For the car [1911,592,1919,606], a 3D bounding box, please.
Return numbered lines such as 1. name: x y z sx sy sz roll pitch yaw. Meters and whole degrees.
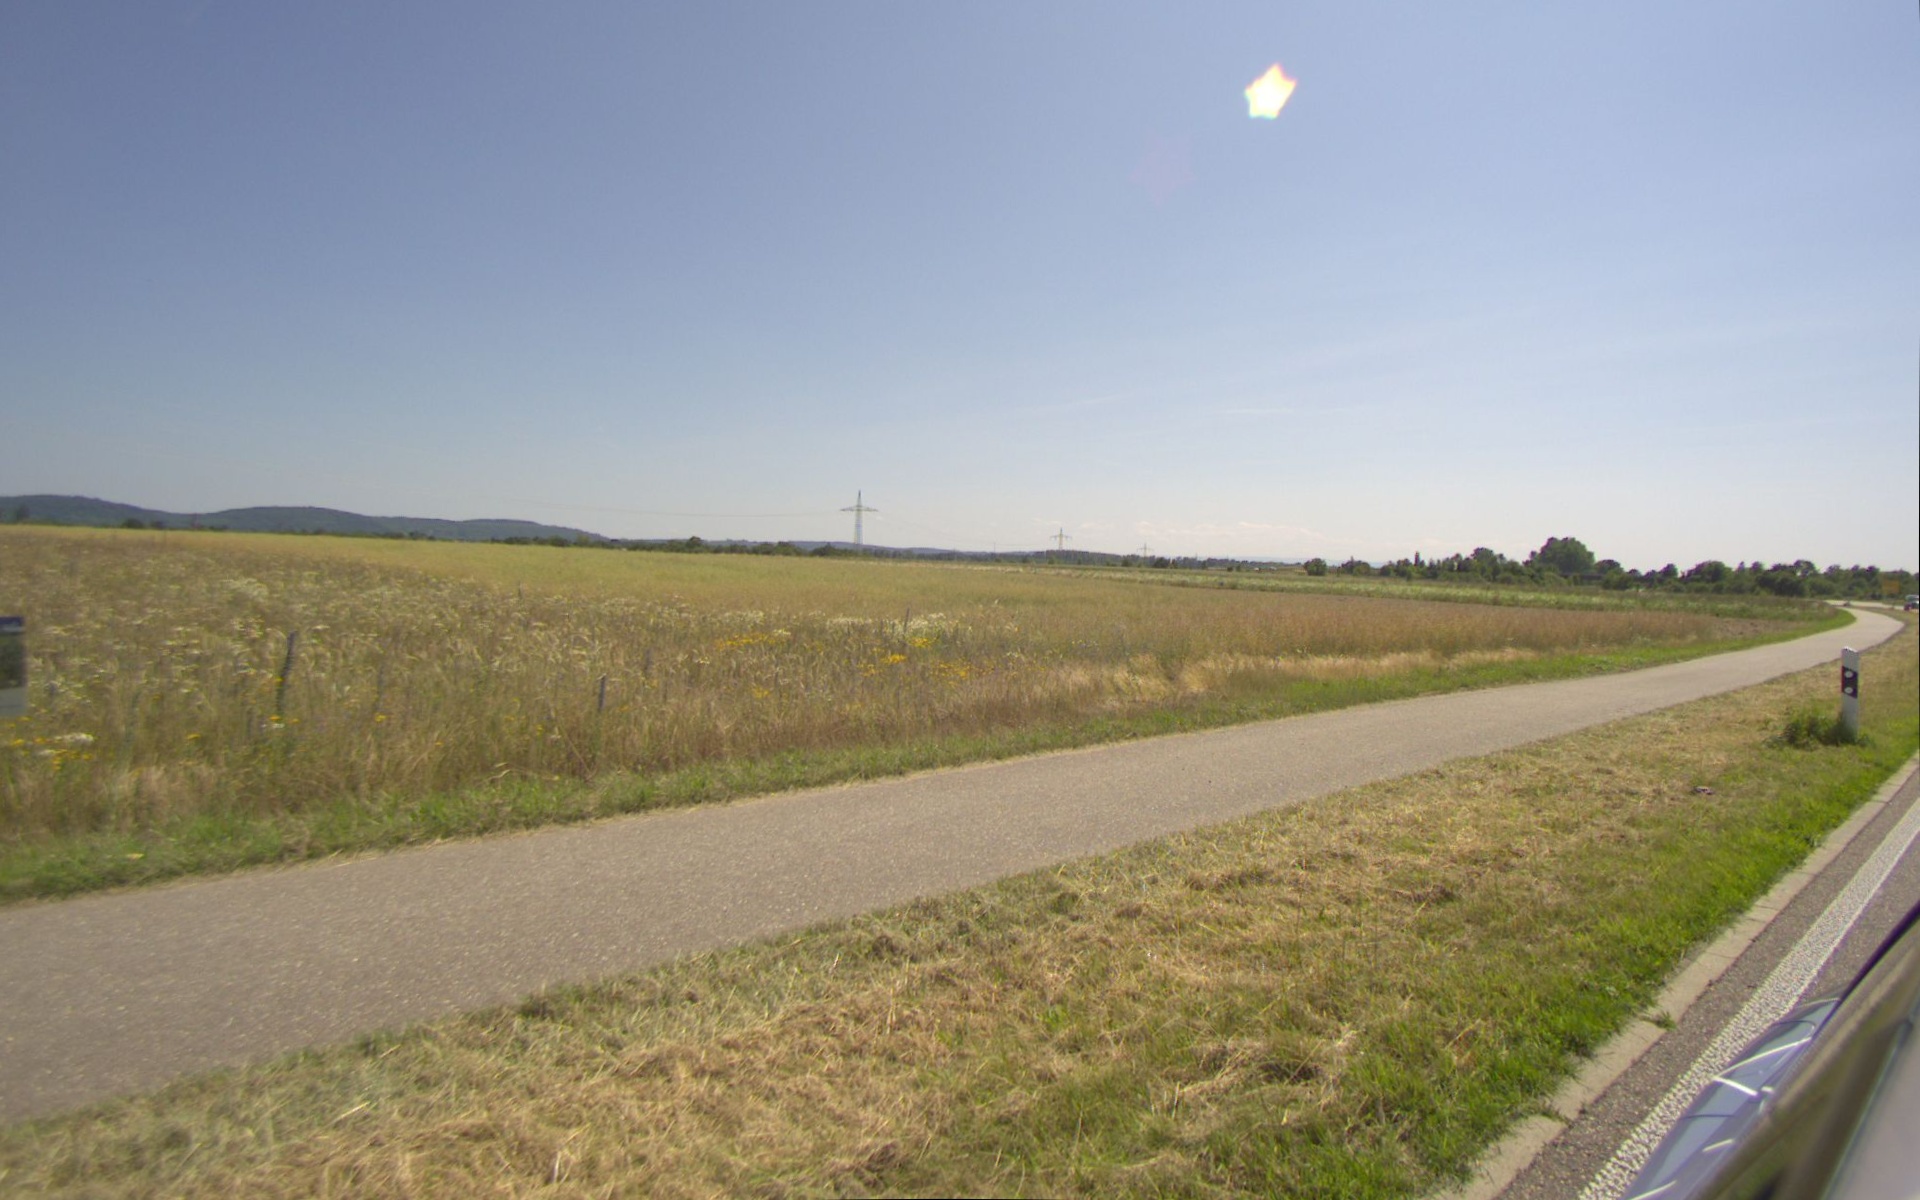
1. car: 111.955 -0.143 117.347 1.974 1.616 5.328 1 2 38
